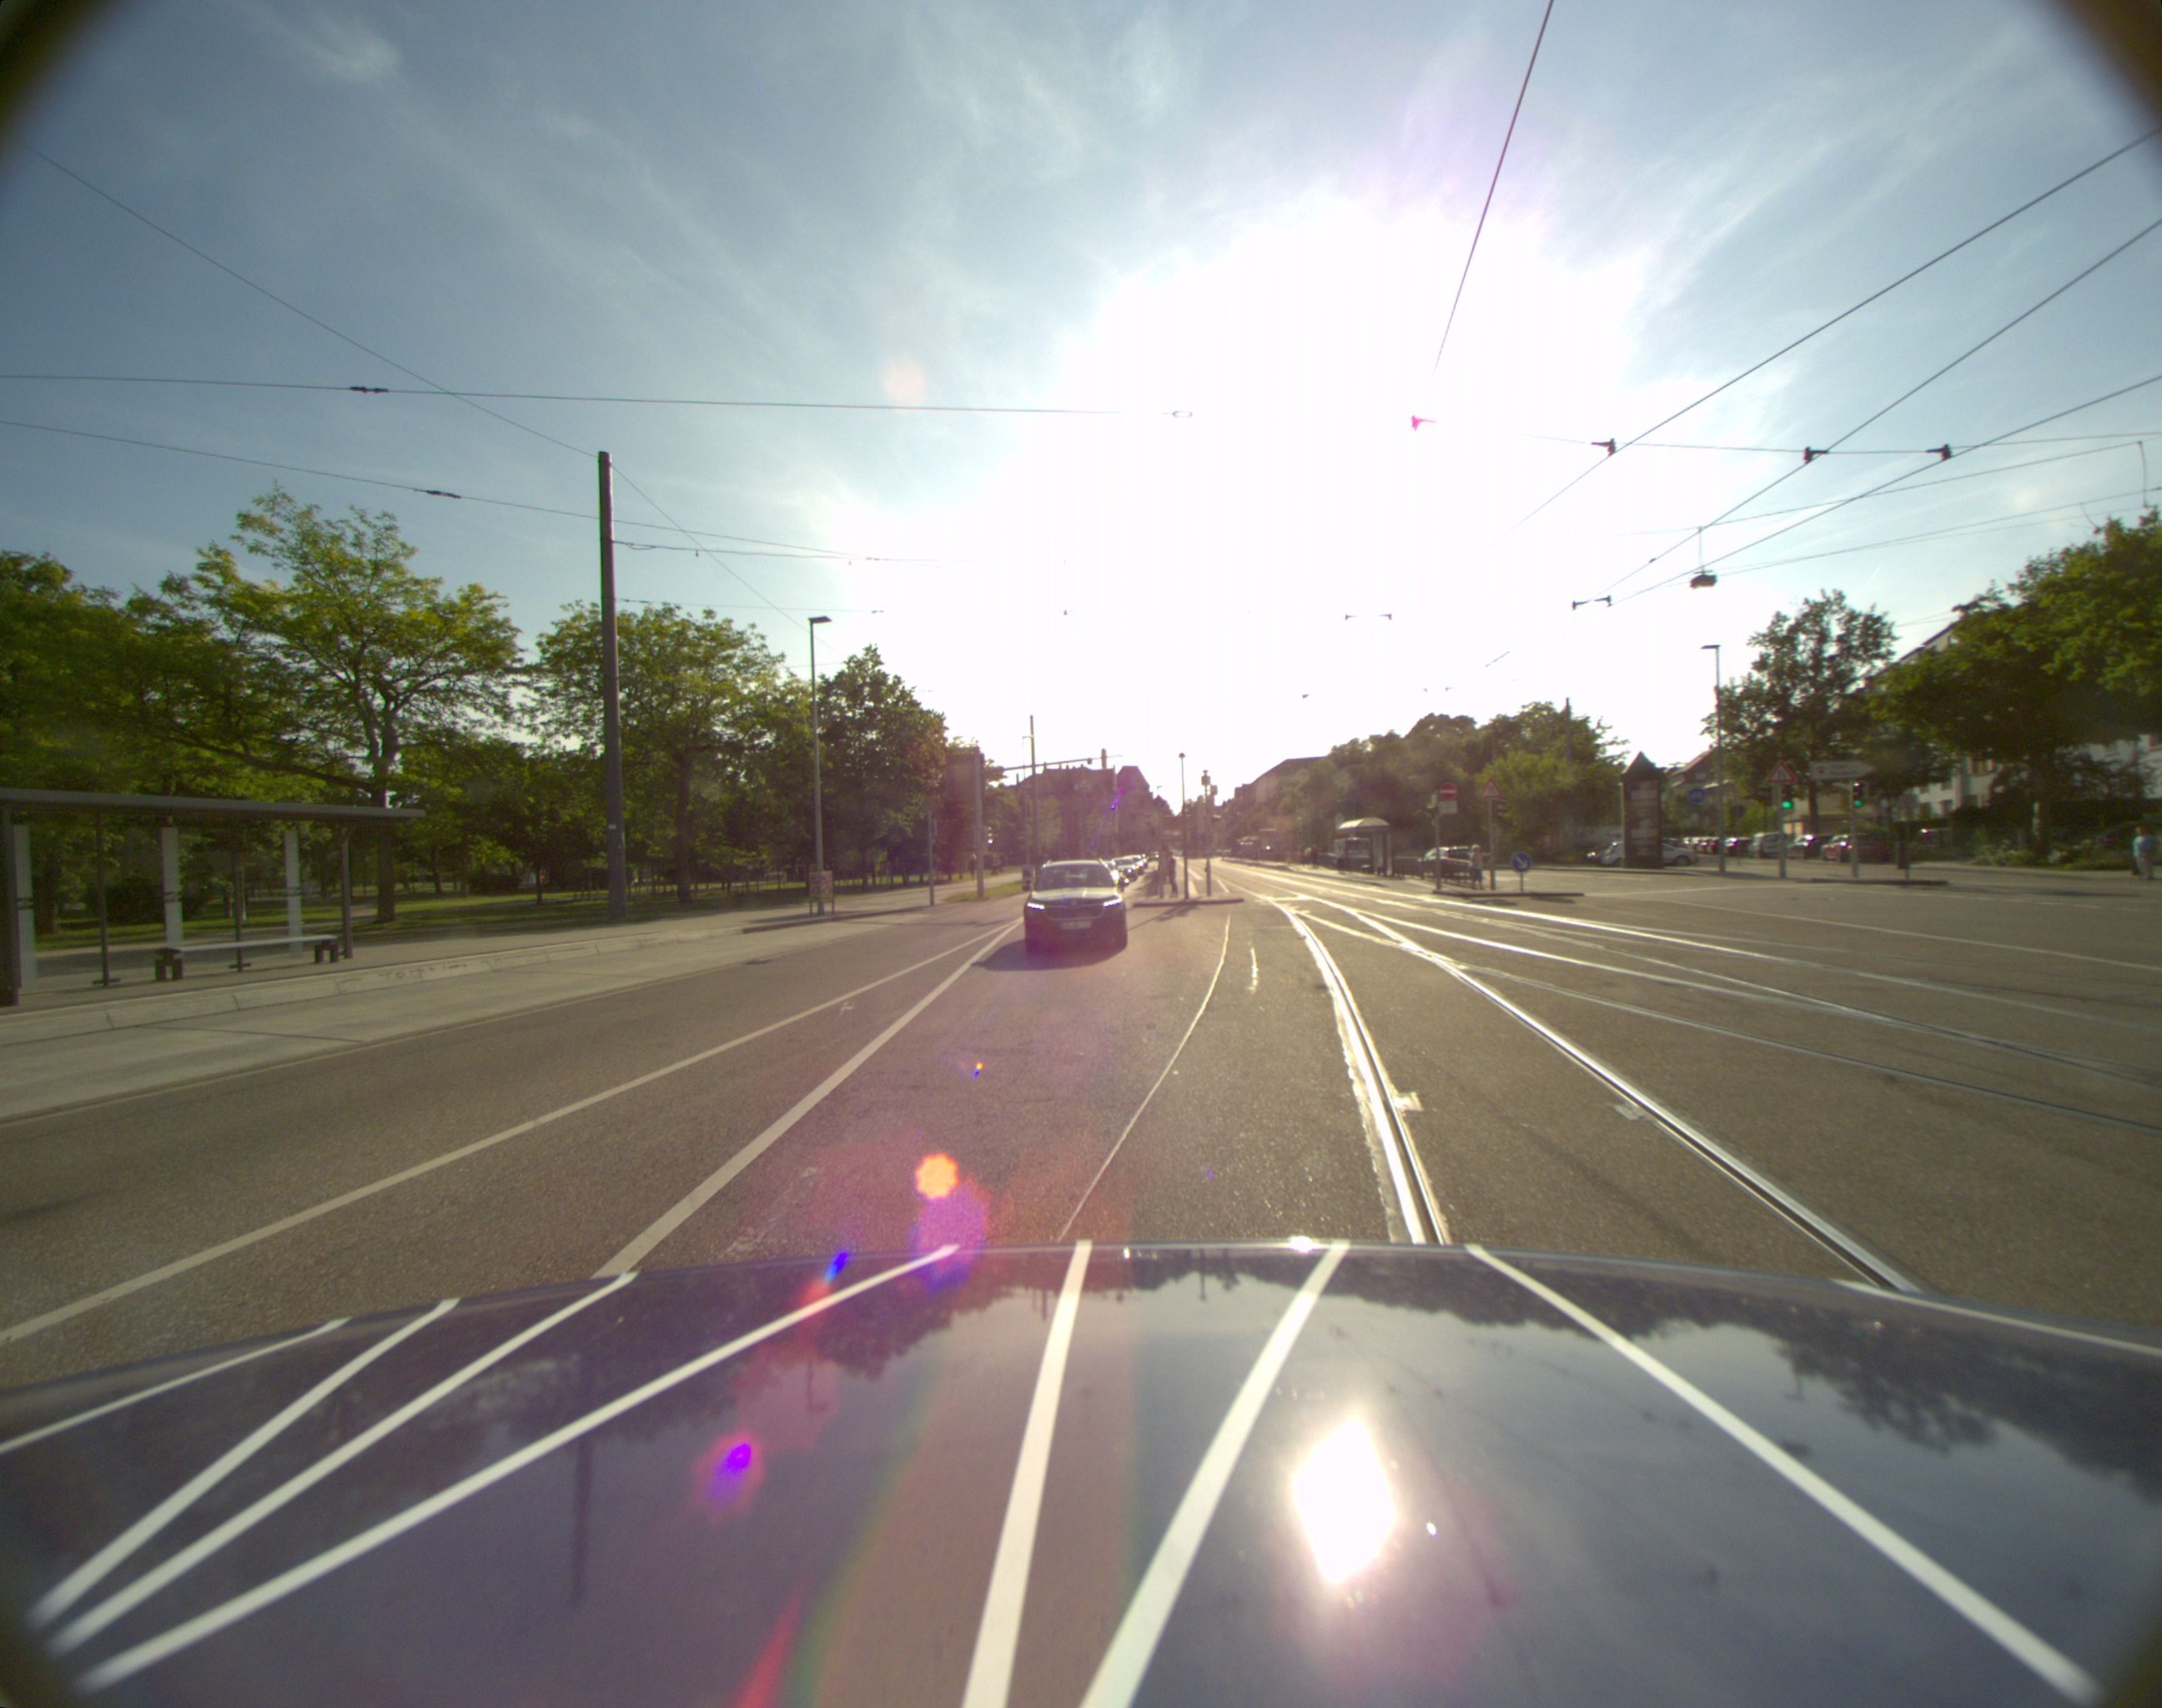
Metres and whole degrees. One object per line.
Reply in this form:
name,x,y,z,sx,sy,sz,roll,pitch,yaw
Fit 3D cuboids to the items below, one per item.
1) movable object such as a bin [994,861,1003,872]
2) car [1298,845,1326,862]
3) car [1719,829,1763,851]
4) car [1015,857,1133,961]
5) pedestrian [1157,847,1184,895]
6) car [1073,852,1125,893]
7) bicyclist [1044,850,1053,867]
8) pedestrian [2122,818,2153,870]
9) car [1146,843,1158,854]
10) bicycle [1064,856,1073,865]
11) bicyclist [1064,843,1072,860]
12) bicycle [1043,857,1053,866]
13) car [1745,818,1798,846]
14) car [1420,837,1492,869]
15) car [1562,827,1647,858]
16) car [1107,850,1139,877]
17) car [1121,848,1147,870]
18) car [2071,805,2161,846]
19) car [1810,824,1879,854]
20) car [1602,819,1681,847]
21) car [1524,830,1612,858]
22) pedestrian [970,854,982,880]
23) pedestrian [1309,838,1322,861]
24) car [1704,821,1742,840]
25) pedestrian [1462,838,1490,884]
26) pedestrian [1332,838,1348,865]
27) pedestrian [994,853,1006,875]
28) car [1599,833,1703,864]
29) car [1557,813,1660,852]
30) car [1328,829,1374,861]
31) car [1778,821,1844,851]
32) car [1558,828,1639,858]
movable object such as a bin,-6.817,1.014,62.912,0.525,0.898,0.502,-3,1,-45
car,21.833,0.000,71.900,1.680,1.517,4.126,-2,-1,6
car,51.252,-1.122,59.046,1.813,1.605,4.007,-2,1,30
car,0.018,0.892,14.140,1.781,1.496,4.001,-4,0,4
pedestrian,3.222,0.607,27.404,0.882,1.660,0.672,-2,1,9
car,0.824,0.725,31.826,1.780,1.496,4.001,-2,1,7
bicyclist,-3.451,0.434,79.948,0.753,1.763,1.119,-2,1,5
pedestrian,30.962,-0.284,22.263,0.404,1.507,0.391,-1,1,33
car,12.377,-0.961,132.208,1.998,1.674,4.001,-2,0,5
bicycle,-1.322,0.678,79.822,0.740,0.912,2.094,-2,1,-3
bicyclist,-1.365,-0.309,79.928,0.730,1.763,1.015,-2,1,-2
bicycle,-3.427,0.786,80.028,0.740,0.912,2.095,-2,1,5
car,47.361,-1.482,52.188,1.813,1.789,4.007,-2,1,29
car,19.091,-0.021,38.908,1.770,1.486,4.747,-2,-1,7
car,32.055,-0.698,46.641,3.990,1.744,1.857,-2,1,25
car,2.597,0.567,46.633,1.671,1.496,3.873,-2,1,7
car,4.006,0.325,56.999,1.780,1.496,4.001,-2,1,7
car,43.298,-1.192,30.451,3.989,1.549,1.860,-2,1,32
car,39.224,-0.764,39.129,1.545,1.418,3.871,-2,1,30
car,37.736,-1.400,51.241,3.990,1.744,1.857,-2,1,25
car,27.295,-0.538,42.714,3.990,1.420,1.775,-2,1,27
pedestrian,-6.912,0.861,49.878,0.558,1.691,0.662,-2,1,6
pedestrian,17.183,-0.351,55.730,0.736,1.619,0.689,-2,1,6
car,54.173,-1.967,64.177,1.813,1.528,4.007,-2,1,30
pedestrian,13.893,0.239,26.722,0.591,1.580,0.715,-2,1,3
pedestrian,15.508,-0.151,45.522,0.707,1.619,0.727,-2,1,6
pedestrian,-6.145,0.788,57.856,0.621,1.642,0.663,-2,1,15
car,29.003,-0.258,38.795,3.990,1.420,1.775,-2,1,27
car,42.389,-1.700,61.260,6.586,2.792,1.775,-2,1,27
car,20.712,-0.680,58.528,2.181,2.226,5.255,-2,0,7
car,41.631,-1.021,43.418,1.813,1.563,4.007,-2,1,30
car,32.875,-0.673,48.429,3.990,1.744,1.857,-2,1,25
